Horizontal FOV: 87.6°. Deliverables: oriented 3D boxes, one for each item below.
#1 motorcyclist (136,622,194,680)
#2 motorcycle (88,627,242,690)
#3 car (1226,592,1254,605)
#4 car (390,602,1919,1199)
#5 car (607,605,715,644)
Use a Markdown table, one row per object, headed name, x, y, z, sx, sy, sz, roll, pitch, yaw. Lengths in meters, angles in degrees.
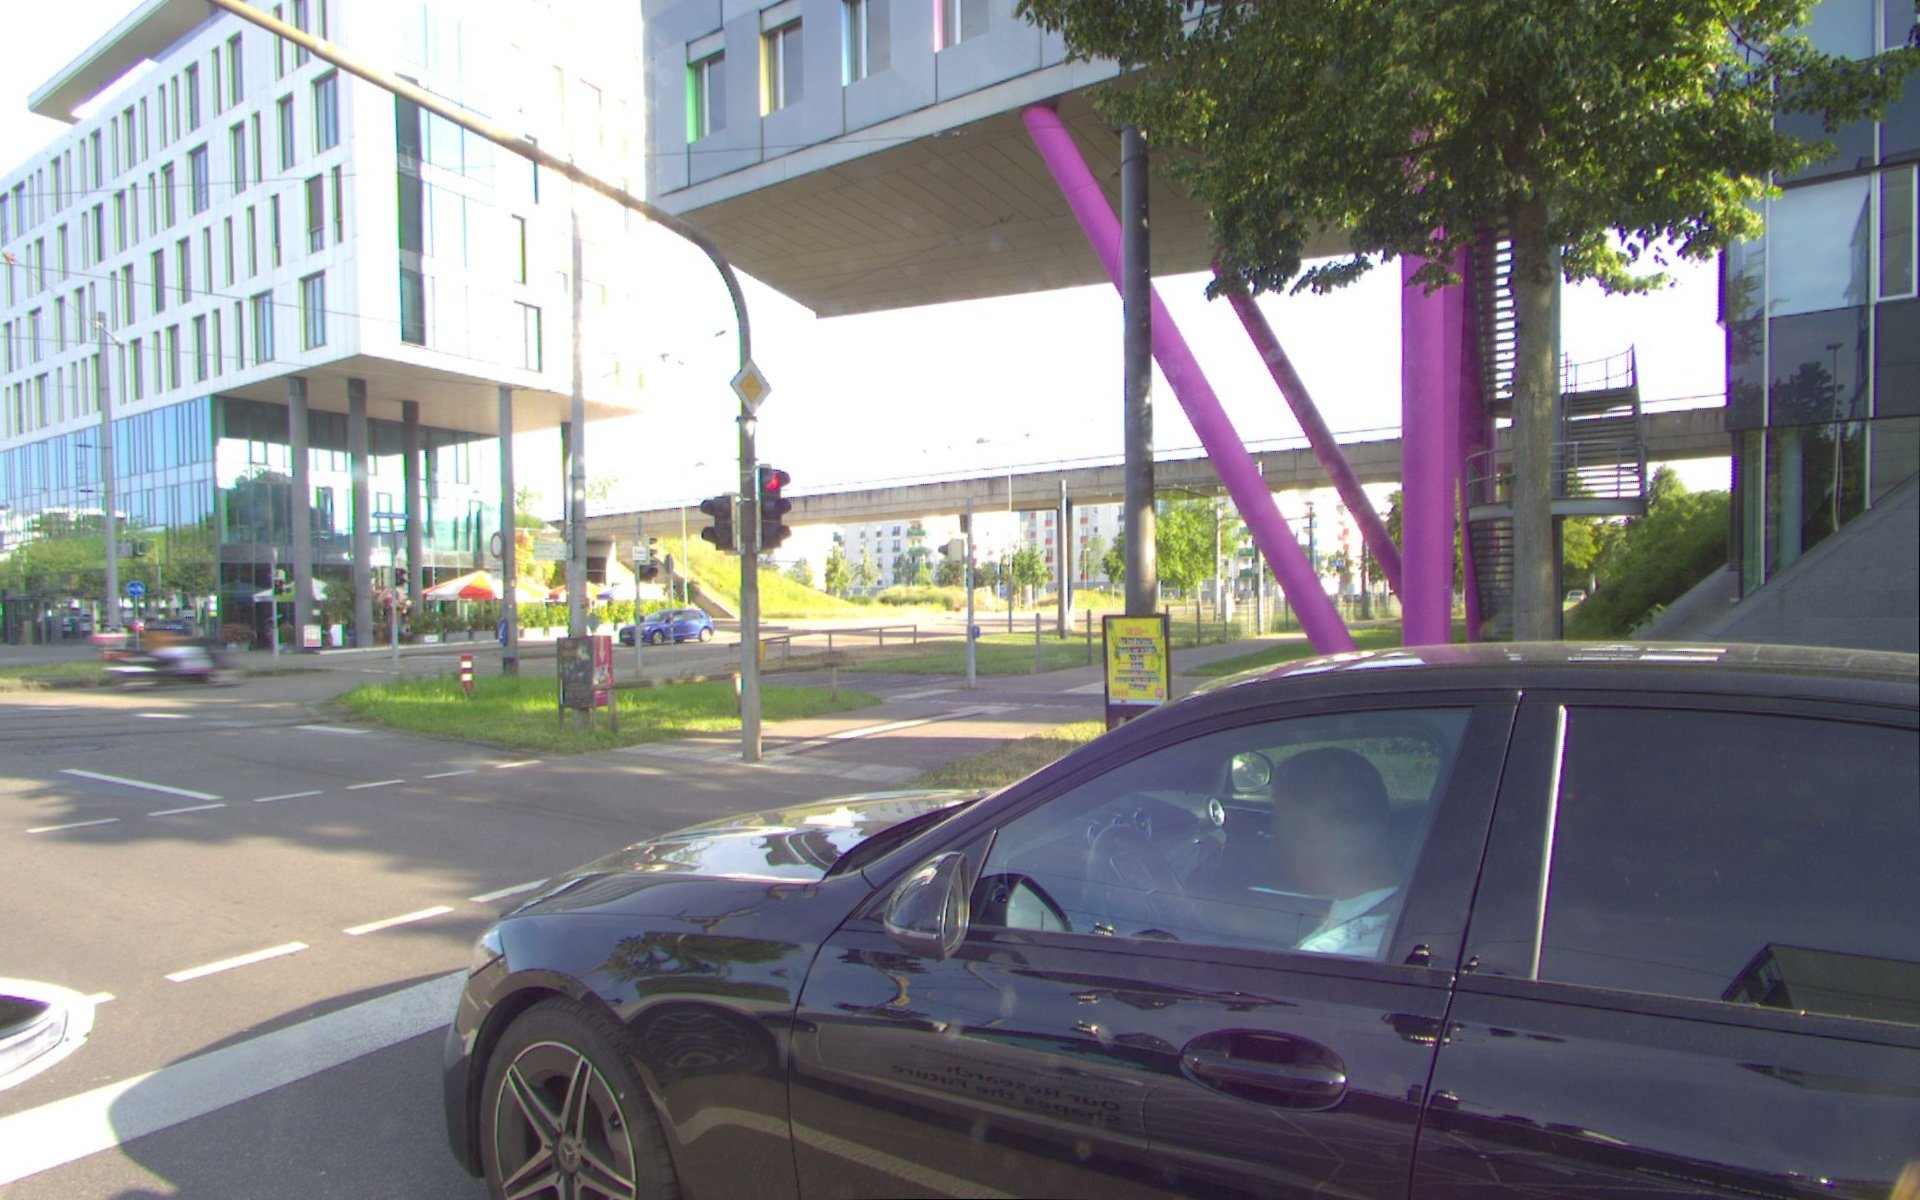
| name | x | y | z | sx | sy | sz | roll | pitch | yaw |
| --- | --- | --- | --- | --- | --- | --- | --- | --- | --- |
| motorcyclist | -17.234 | 1.101 | 21.713 | 0.775 | 1.218 | 0.841 | 0 | -1 | 41 |
| motorcycle | -17.219 | 1.229 | 21.760 | 0.811 | 1.280 | 2.529 | 0 | -1 | 40 |
| car | 33.961 | -0.159 | 121.533 | 1.823 | 1.443 | 4.197 | -1 | 0 | -5 |
| car | 0.856 | 0.754 | 2.138 | 4.493 | 1.469 | 1.834 | 0 | -1 | 34 |
| car | -12.459 | 0.985 | 41.947 | 1.832 | 1.443 | 4.176 | 0 | 1 | 31 |
